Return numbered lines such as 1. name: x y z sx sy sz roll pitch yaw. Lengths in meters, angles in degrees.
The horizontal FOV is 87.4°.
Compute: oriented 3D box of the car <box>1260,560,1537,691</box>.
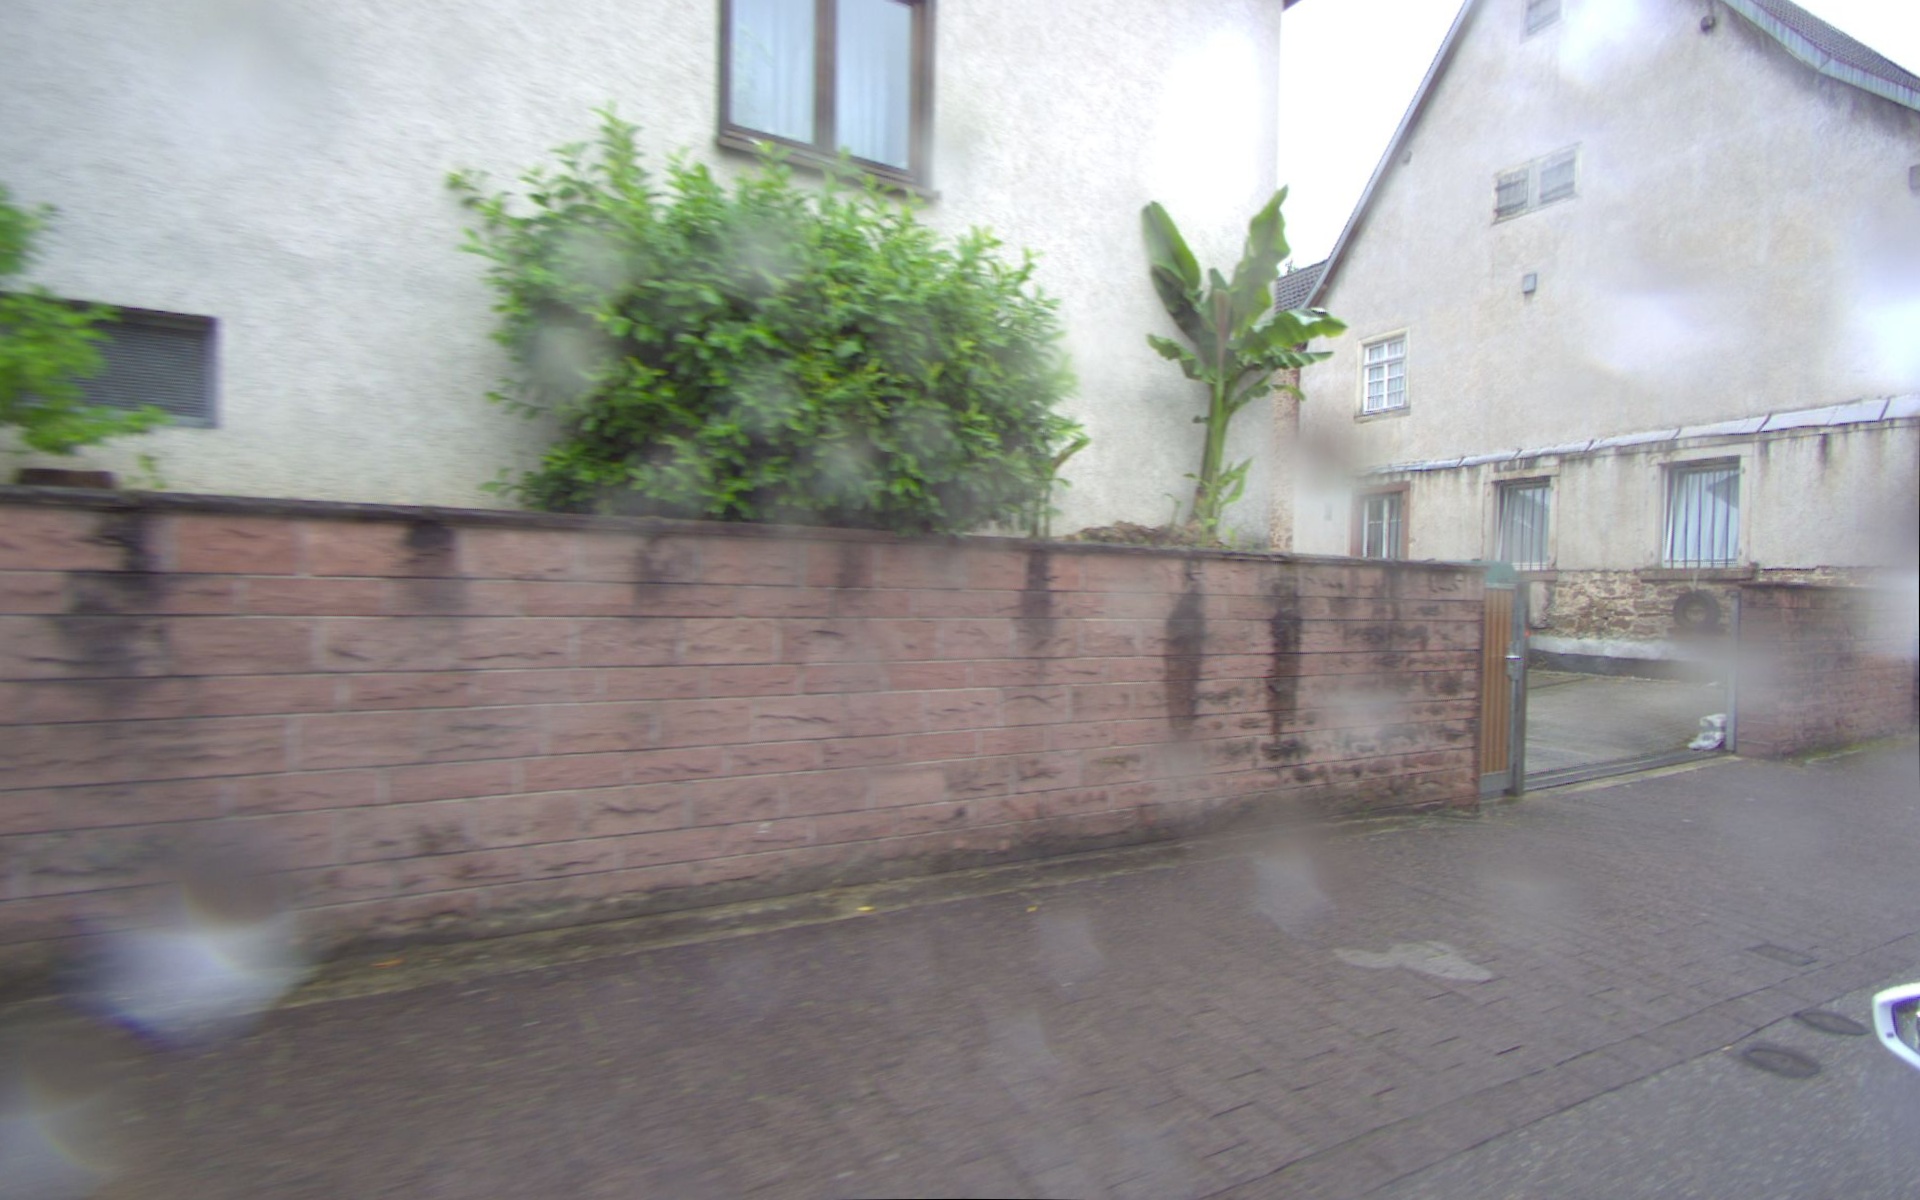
1. car: 6.917 0.290 15.752 4.257 1.739 1.975 -2 2 -33
